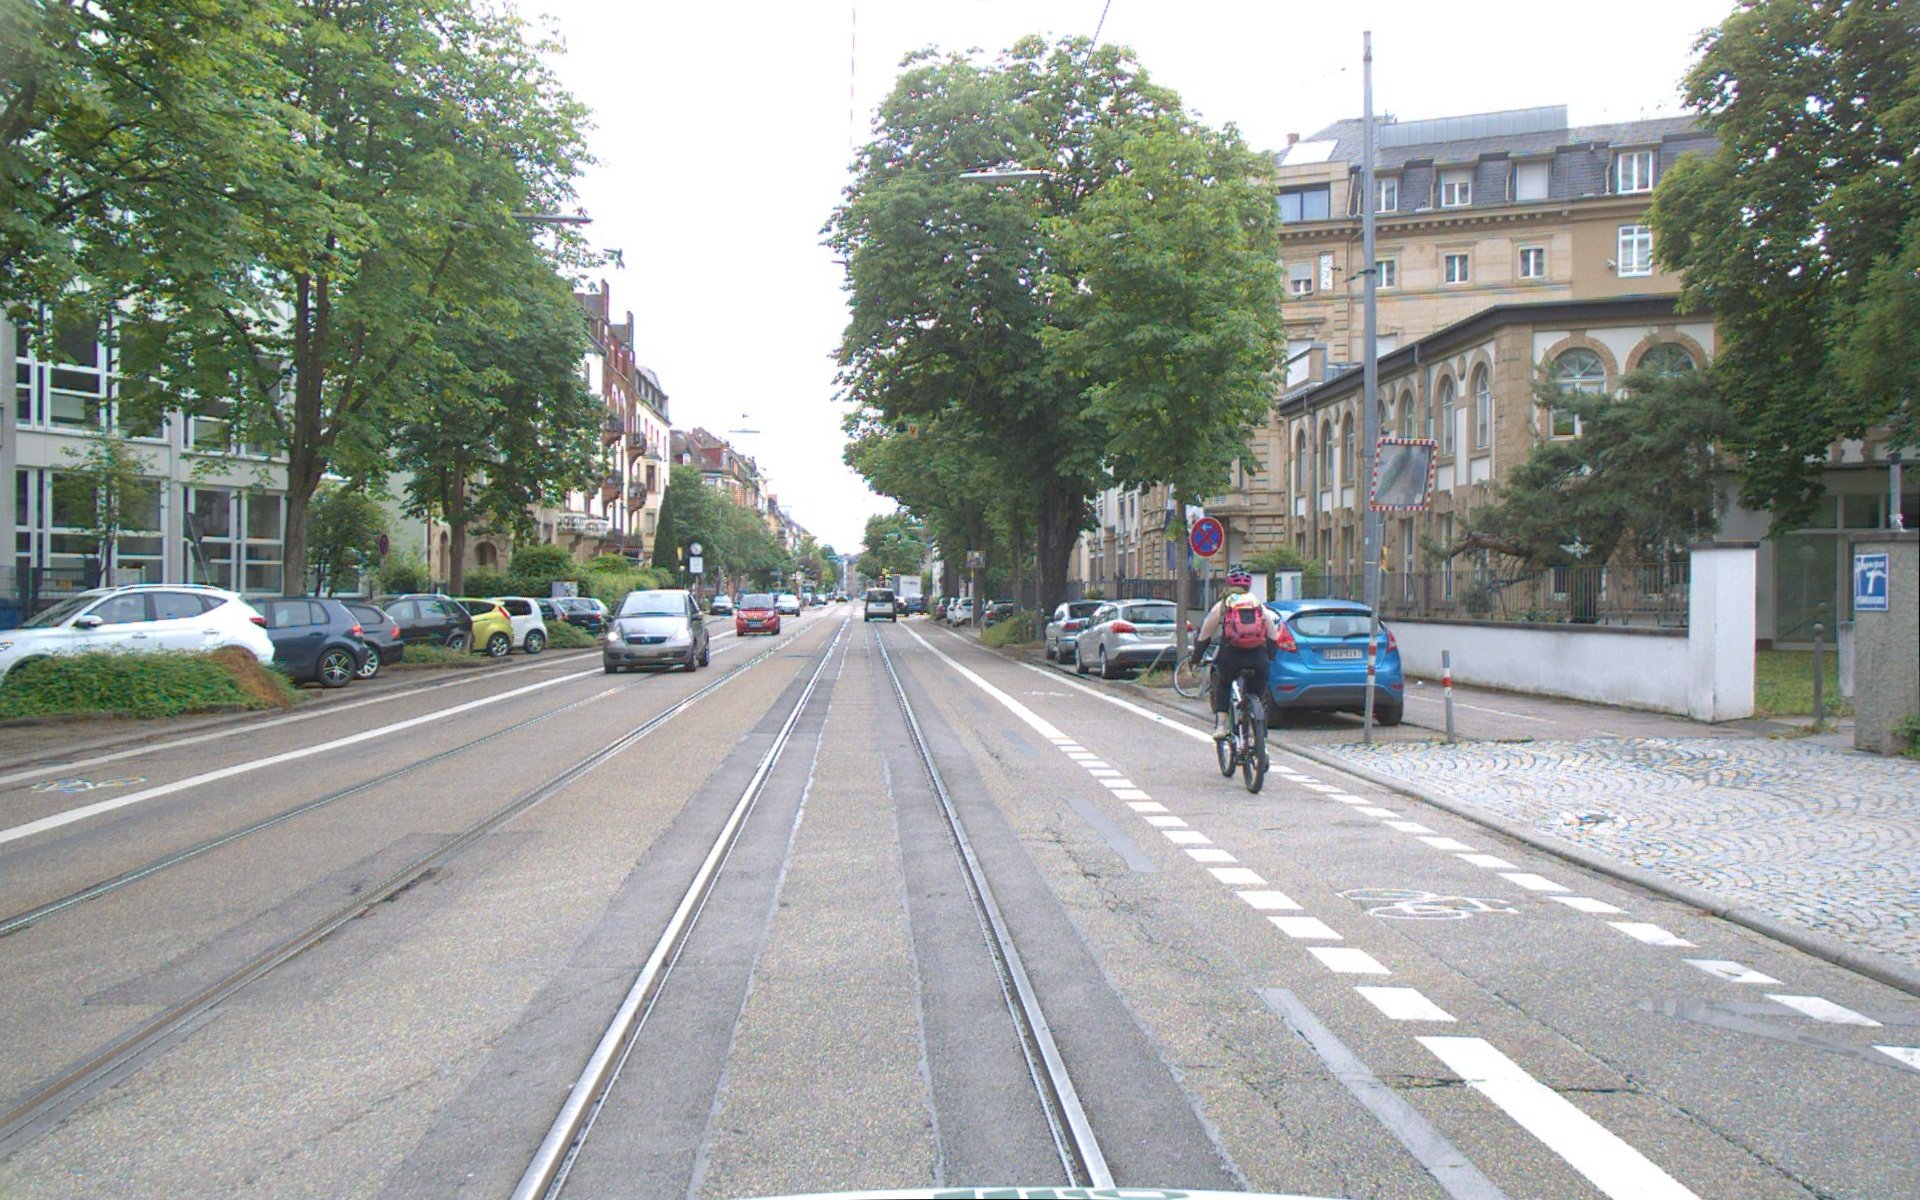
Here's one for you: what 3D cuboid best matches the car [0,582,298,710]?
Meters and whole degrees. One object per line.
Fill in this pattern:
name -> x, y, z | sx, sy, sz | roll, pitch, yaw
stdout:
car -> -11.527, 0.585, 22.644 | 1.667, 1.583, 4.327 | 1, 0, 37

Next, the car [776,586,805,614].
car -> -15.304, 0.018, 149.567 | 2.160, 2.459, 4.000 | 0, 0, 0

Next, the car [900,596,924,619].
car -> -4.028, 0.597, 137.480 | 1.953, 1.825, 3.998 | 0, 0, -2

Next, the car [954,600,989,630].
car -> 0.544, 0.714, 80.862 | 1.633, 1.423, 3.660 | 0, 0, -1

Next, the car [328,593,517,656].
car -> -12.591, 0.574, 38.912 | 1.669, 1.375, 3.946 | 1, 0, 41

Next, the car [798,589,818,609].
car -> -17.812, -0.129, 193.690 | 2.161, 2.295, 3.997 | 0, 0, -3

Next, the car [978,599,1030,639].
car -> 1.610, 0.701, 61.811 | 1.755, 1.423, 3.794 | 0, 0, -1

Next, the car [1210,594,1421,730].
car -> 4.272, 0.691, 20.365 | 1.641, 1.486, 3.430 | -1, 0, -4

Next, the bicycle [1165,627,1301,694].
bicycle -> 4.127, 0.904, 25.041 | 1.974, 0.973, 0.533 | 0, 0, -7

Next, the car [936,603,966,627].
car -> -0.563, 0.889, 100.964 | 1.734, 1.423, 3.794 | 0, 0, -1

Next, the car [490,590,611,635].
car -> -13.759, 0.419, 55.589 | 3.664, 1.410, 1.685 | 1, 0, -28

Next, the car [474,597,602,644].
car -> -13.444, 0.661, 52.750 | 3.664, 1.410, 1.685 | 1, 0, -28

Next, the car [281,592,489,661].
car -> -12.328, 0.557, 35.625 | 1.669, 1.375, 3.946 | 1, 0, 41

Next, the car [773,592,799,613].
car -> -12.041, 0.168, 114.413 | 1.707, 1.454, 3.994 | 0, 0, -7

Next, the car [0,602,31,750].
car -> -11.258, 0.712, 15.706 | 3.993, 1.430, 1.674 | 1, 0, -42

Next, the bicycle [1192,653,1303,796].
bicycle -> 2.329, 0.980, 13.593 | 0.480, 0.996, 2.056 | 1, 0, -2

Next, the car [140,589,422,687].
car -> -11.880, 0.644, 29.158 | 1.669, 1.562, 4.322 | 1, 0, 41

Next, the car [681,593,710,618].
car -> -24.636, 0.467, 154.045 | 2.134, 2.246, 4.216 | 0, 0, -3

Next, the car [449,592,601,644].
car -> -12.365, 0.509, 47.152 | 1.669, 1.375, 3.946 | 1, 0, 41

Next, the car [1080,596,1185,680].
car -> 3.309, 0.698, 32.313 | 1.446, 1.507, 3.562 | 1, 0, -4

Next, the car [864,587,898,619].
car -> -4.428, 0.166, 93.243 | 1.775, 1.738, 3.698 | 1, 0, -1

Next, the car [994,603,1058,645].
car -> 2.111, 0.770, 53.844 | 1.835, 1.273, 3.999 | 0, 0, -1

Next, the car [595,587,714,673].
car -> -6.000, 0.556, 32.877 | 1.863, 1.557, 3.751 | -1, 0, -4

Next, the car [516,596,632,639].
car -> -13.644, 0.615, 58.481 | 3.664, 1.410, 1.685 | 1, 0, -28

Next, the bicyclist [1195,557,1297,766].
bicyclist -> 2.310, 0.481, 13.449 | 0.644, 1.638, 0.919 | 0, 0, -2

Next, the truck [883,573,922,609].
truck -> -6.788, -1.096, 193.528 | 3.735, 4.100, 10.204 | 0, 0, -6

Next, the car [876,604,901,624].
car -> -5.338, 1.011, 123.387 | 1.734, 1.423, 3.794 | 0, 0, -1

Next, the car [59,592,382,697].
car -> -11.483, 0.659, 25.926 | 1.669, 1.479, 4.322 | 1, 0, 41

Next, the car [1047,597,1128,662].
car -> 2.994, 0.670, 39.380 | 1.446, 1.454, 3.562 | 0, 0, -4

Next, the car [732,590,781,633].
car -> -7.569, 0.413, 61.653 | 1.643, 1.549, 2.779 | 1, 0, -4

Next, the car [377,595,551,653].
car -> -12.531, 0.594, 41.962 | 1.669, 1.375, 3.946 | 1, 0, 41

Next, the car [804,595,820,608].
car -> -19.995, 0.233, 223.698 | 1.736, 1.672, 3.566 | 0, 0, 0
